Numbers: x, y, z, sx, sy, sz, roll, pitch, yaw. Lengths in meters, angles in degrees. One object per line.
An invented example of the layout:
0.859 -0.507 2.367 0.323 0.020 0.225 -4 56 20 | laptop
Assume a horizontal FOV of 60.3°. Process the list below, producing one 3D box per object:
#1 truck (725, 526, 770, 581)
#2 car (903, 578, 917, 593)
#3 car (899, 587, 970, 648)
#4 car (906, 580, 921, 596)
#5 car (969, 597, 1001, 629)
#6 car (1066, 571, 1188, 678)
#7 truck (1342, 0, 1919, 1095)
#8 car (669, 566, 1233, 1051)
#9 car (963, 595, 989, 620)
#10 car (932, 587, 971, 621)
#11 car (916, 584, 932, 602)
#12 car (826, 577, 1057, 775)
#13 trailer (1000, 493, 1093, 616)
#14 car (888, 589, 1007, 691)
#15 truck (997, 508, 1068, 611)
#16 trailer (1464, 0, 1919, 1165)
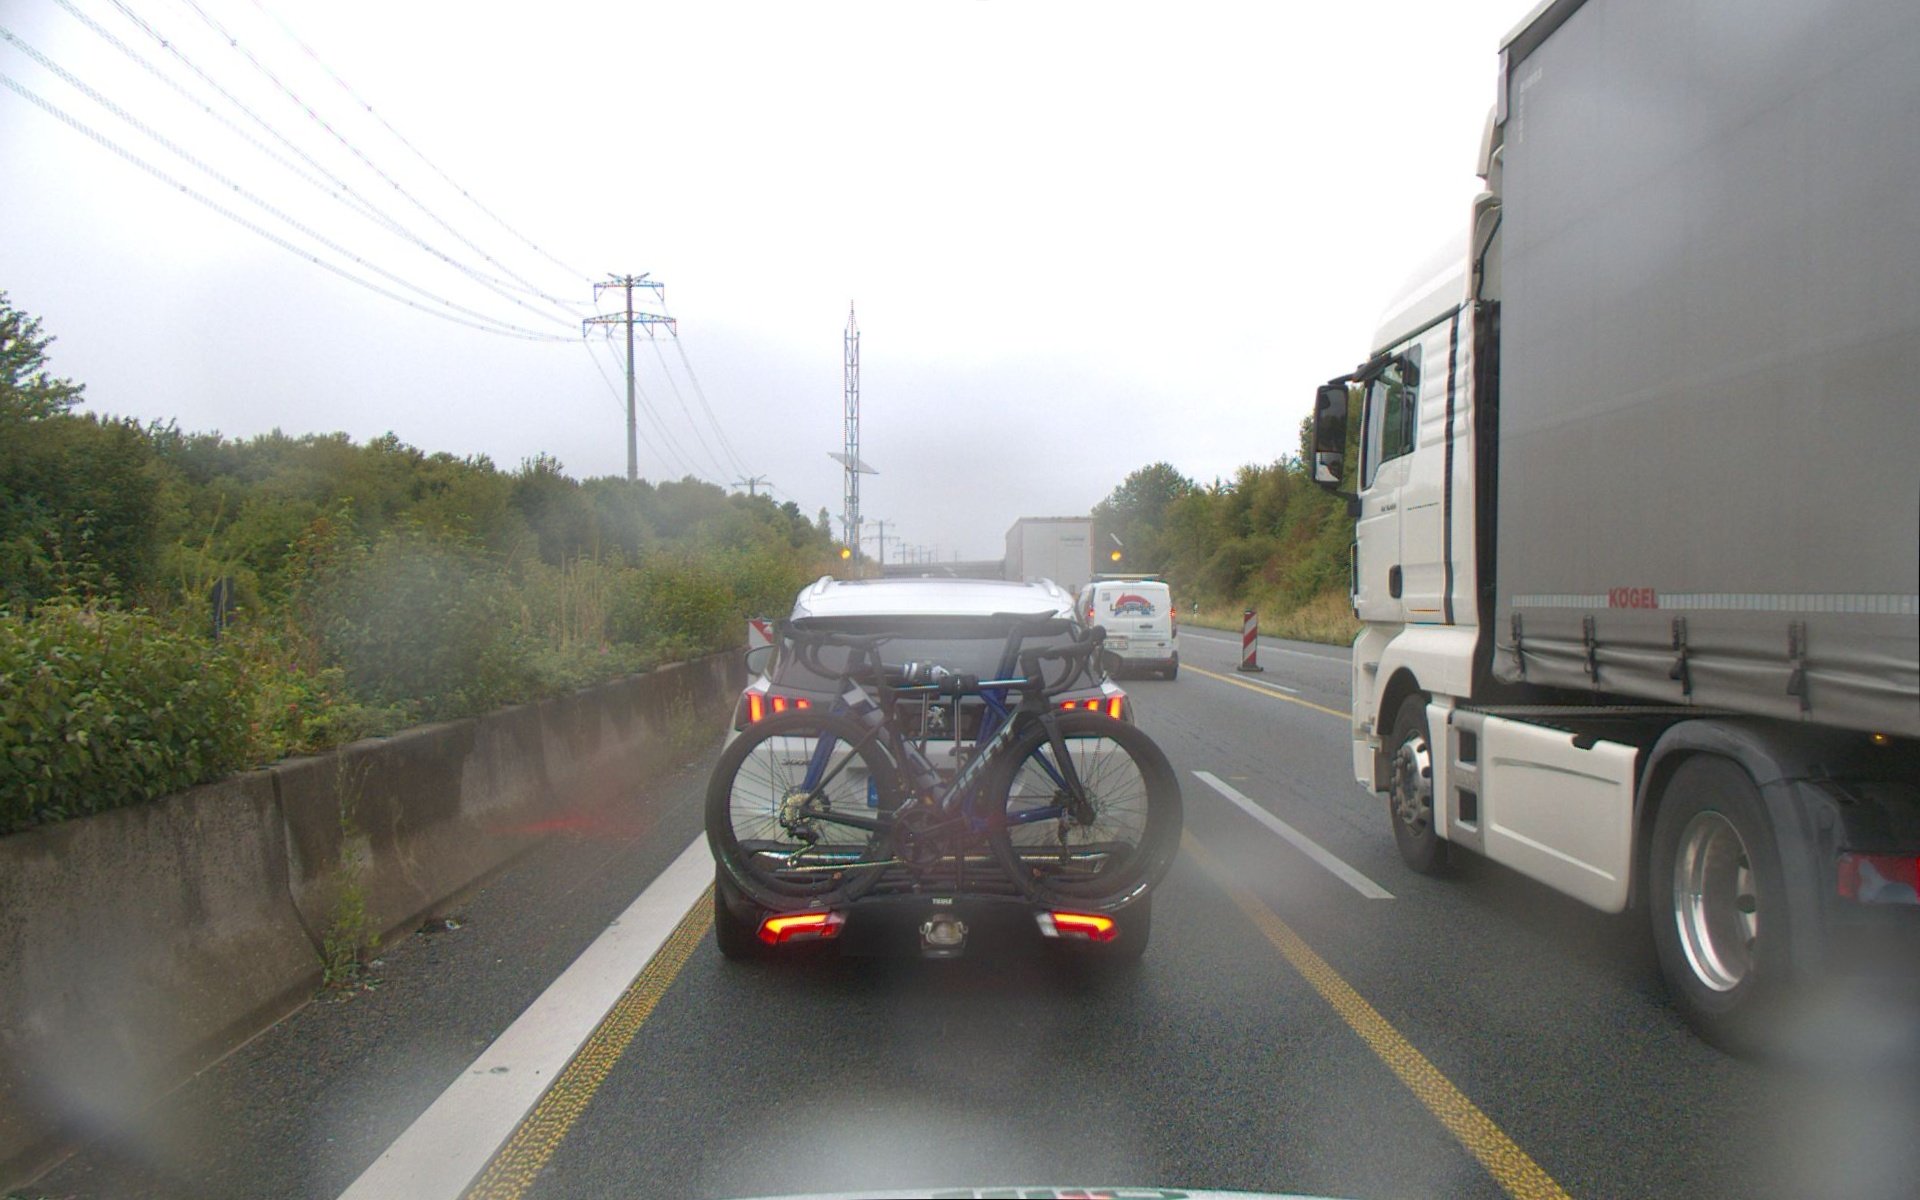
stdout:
-17.144 -3.724 133.970 2.730 4.093 7.231 -3 0 -1 | truck
-6.779 -1.998 224.125 1.892 2.008 4.000 0 1 -1 | car
-0.672 0.445 44.273 1.812 1.557 3.999 0 0 -1 | car
-5.924 -1.566 211.346 1.892 1.944 4.000 0 1 -1 | car
1.680 0.878 112.519 2.067 2.008 4.000 0 1 -1 | car
3.084 0.417 31.416 1.792 1.871 4.654 0 0 -1 | car
3.822 -0.642 7.795 2.651 4.211 5.689 0 0 -1 | truck
-0.058 0.663 7.718 1.812 1.557 4.768 0 0 -1 | car
1.386 0.653 143.078 2.104 2.008 4.000 0 1 -1 | car
-0.431 0.182 79.136 1.812 1.557 3.999 0 0 -1 | car
-4.191 -0.812 192.856 1.892 2.008 4.000 0 1 -1 | car
-0.170 0.592 15.036 1.812 1.557 3.999 0 0 -1 | car
3.096 -1.560 62.805 2.638 4.148 13.631 0 0 -1 | trailer
-0.223 0.605 27.366 1.812 1.557 3.999 0 0 -1 | car
2.985 -1.637 69.639 2.606 4.148 6.538 0 0 -1 | truck
3.857 -0.629 1.138 2.651 4.218 13.729 0 0 -1 | trailer
